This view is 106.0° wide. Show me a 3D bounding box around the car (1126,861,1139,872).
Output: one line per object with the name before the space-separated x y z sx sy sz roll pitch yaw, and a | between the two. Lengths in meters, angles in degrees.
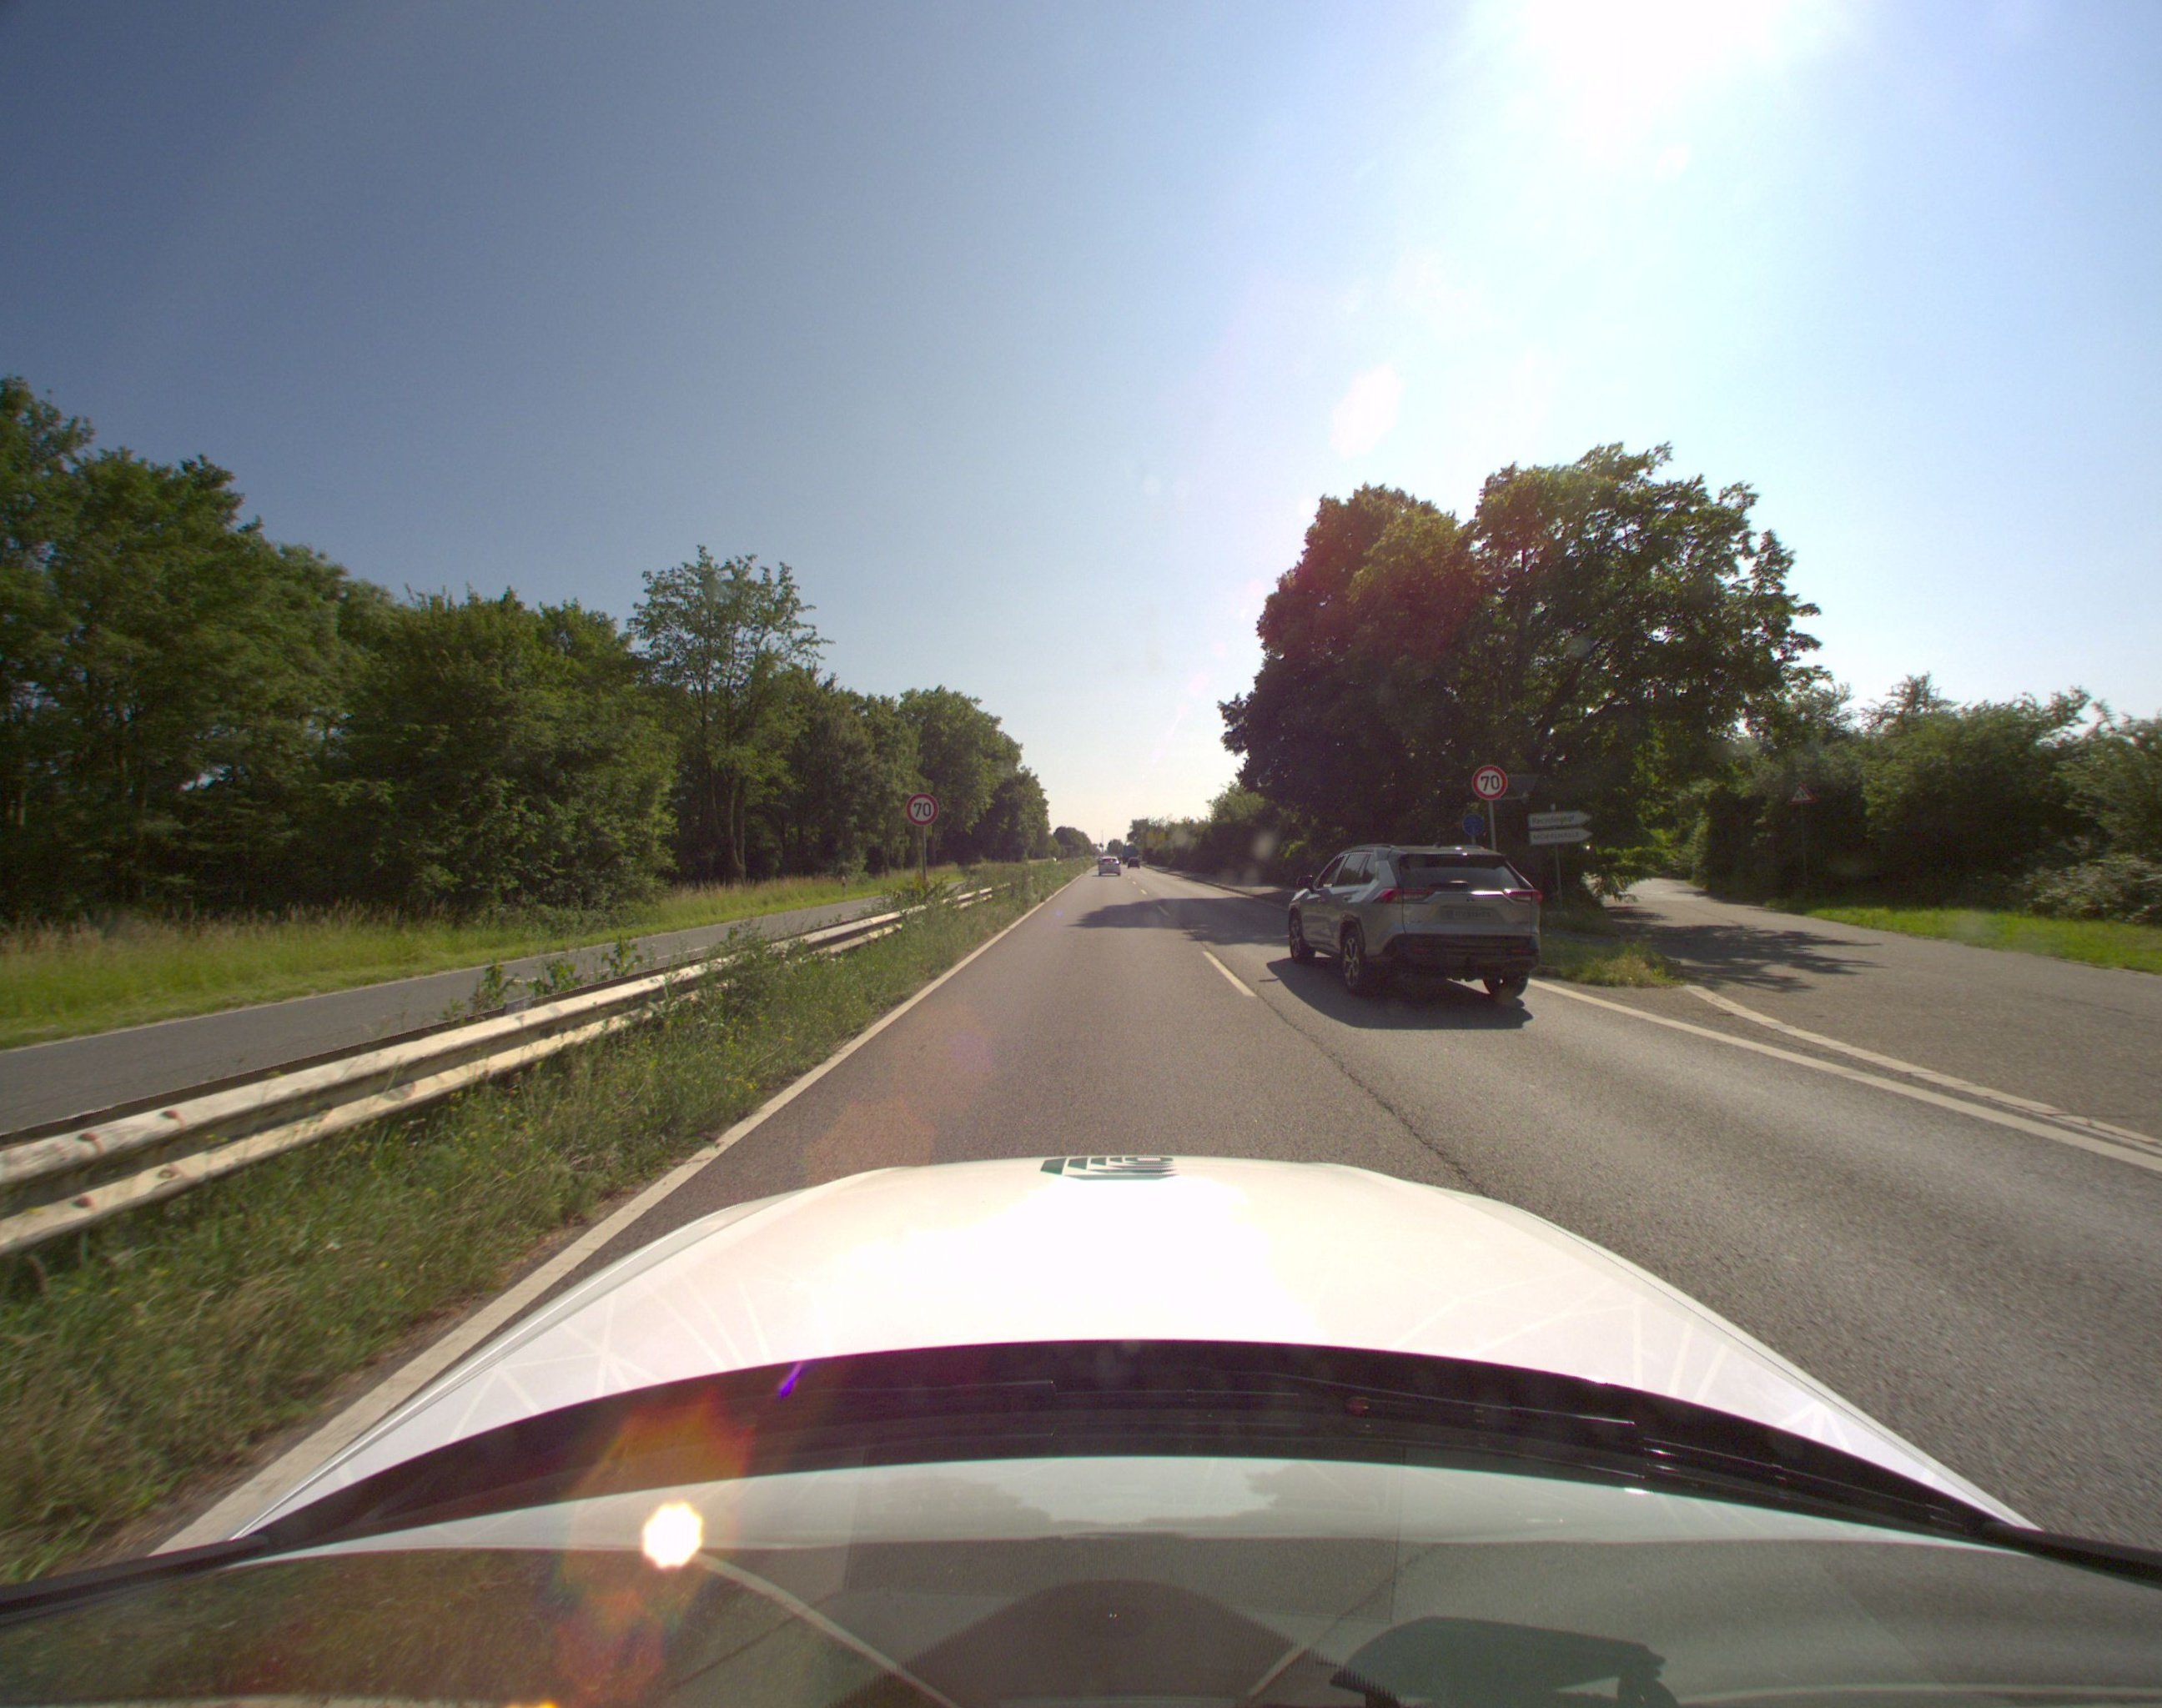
car | 6.842 1.679 108.513 1.566 1.414 3.279 0 -1 2

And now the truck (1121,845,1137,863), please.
truck | 9.680 0.076 164.922 2.880 3.428 9.173 -1 0 2

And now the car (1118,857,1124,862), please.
car | 12.431 1.662 253.989 1.804 1.464 4.464 -1 -1 4

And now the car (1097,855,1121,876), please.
car | 2.239 0.903 63.867 1.791 1.553 4.003 0 0 3

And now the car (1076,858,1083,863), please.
car | -0.467 1.810 231.145 1.770 1.530 4.166 -2 -1 4

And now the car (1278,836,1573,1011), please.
car | 3.940 0.694 10.321 1.895 1.680 4.685 1 0 2
